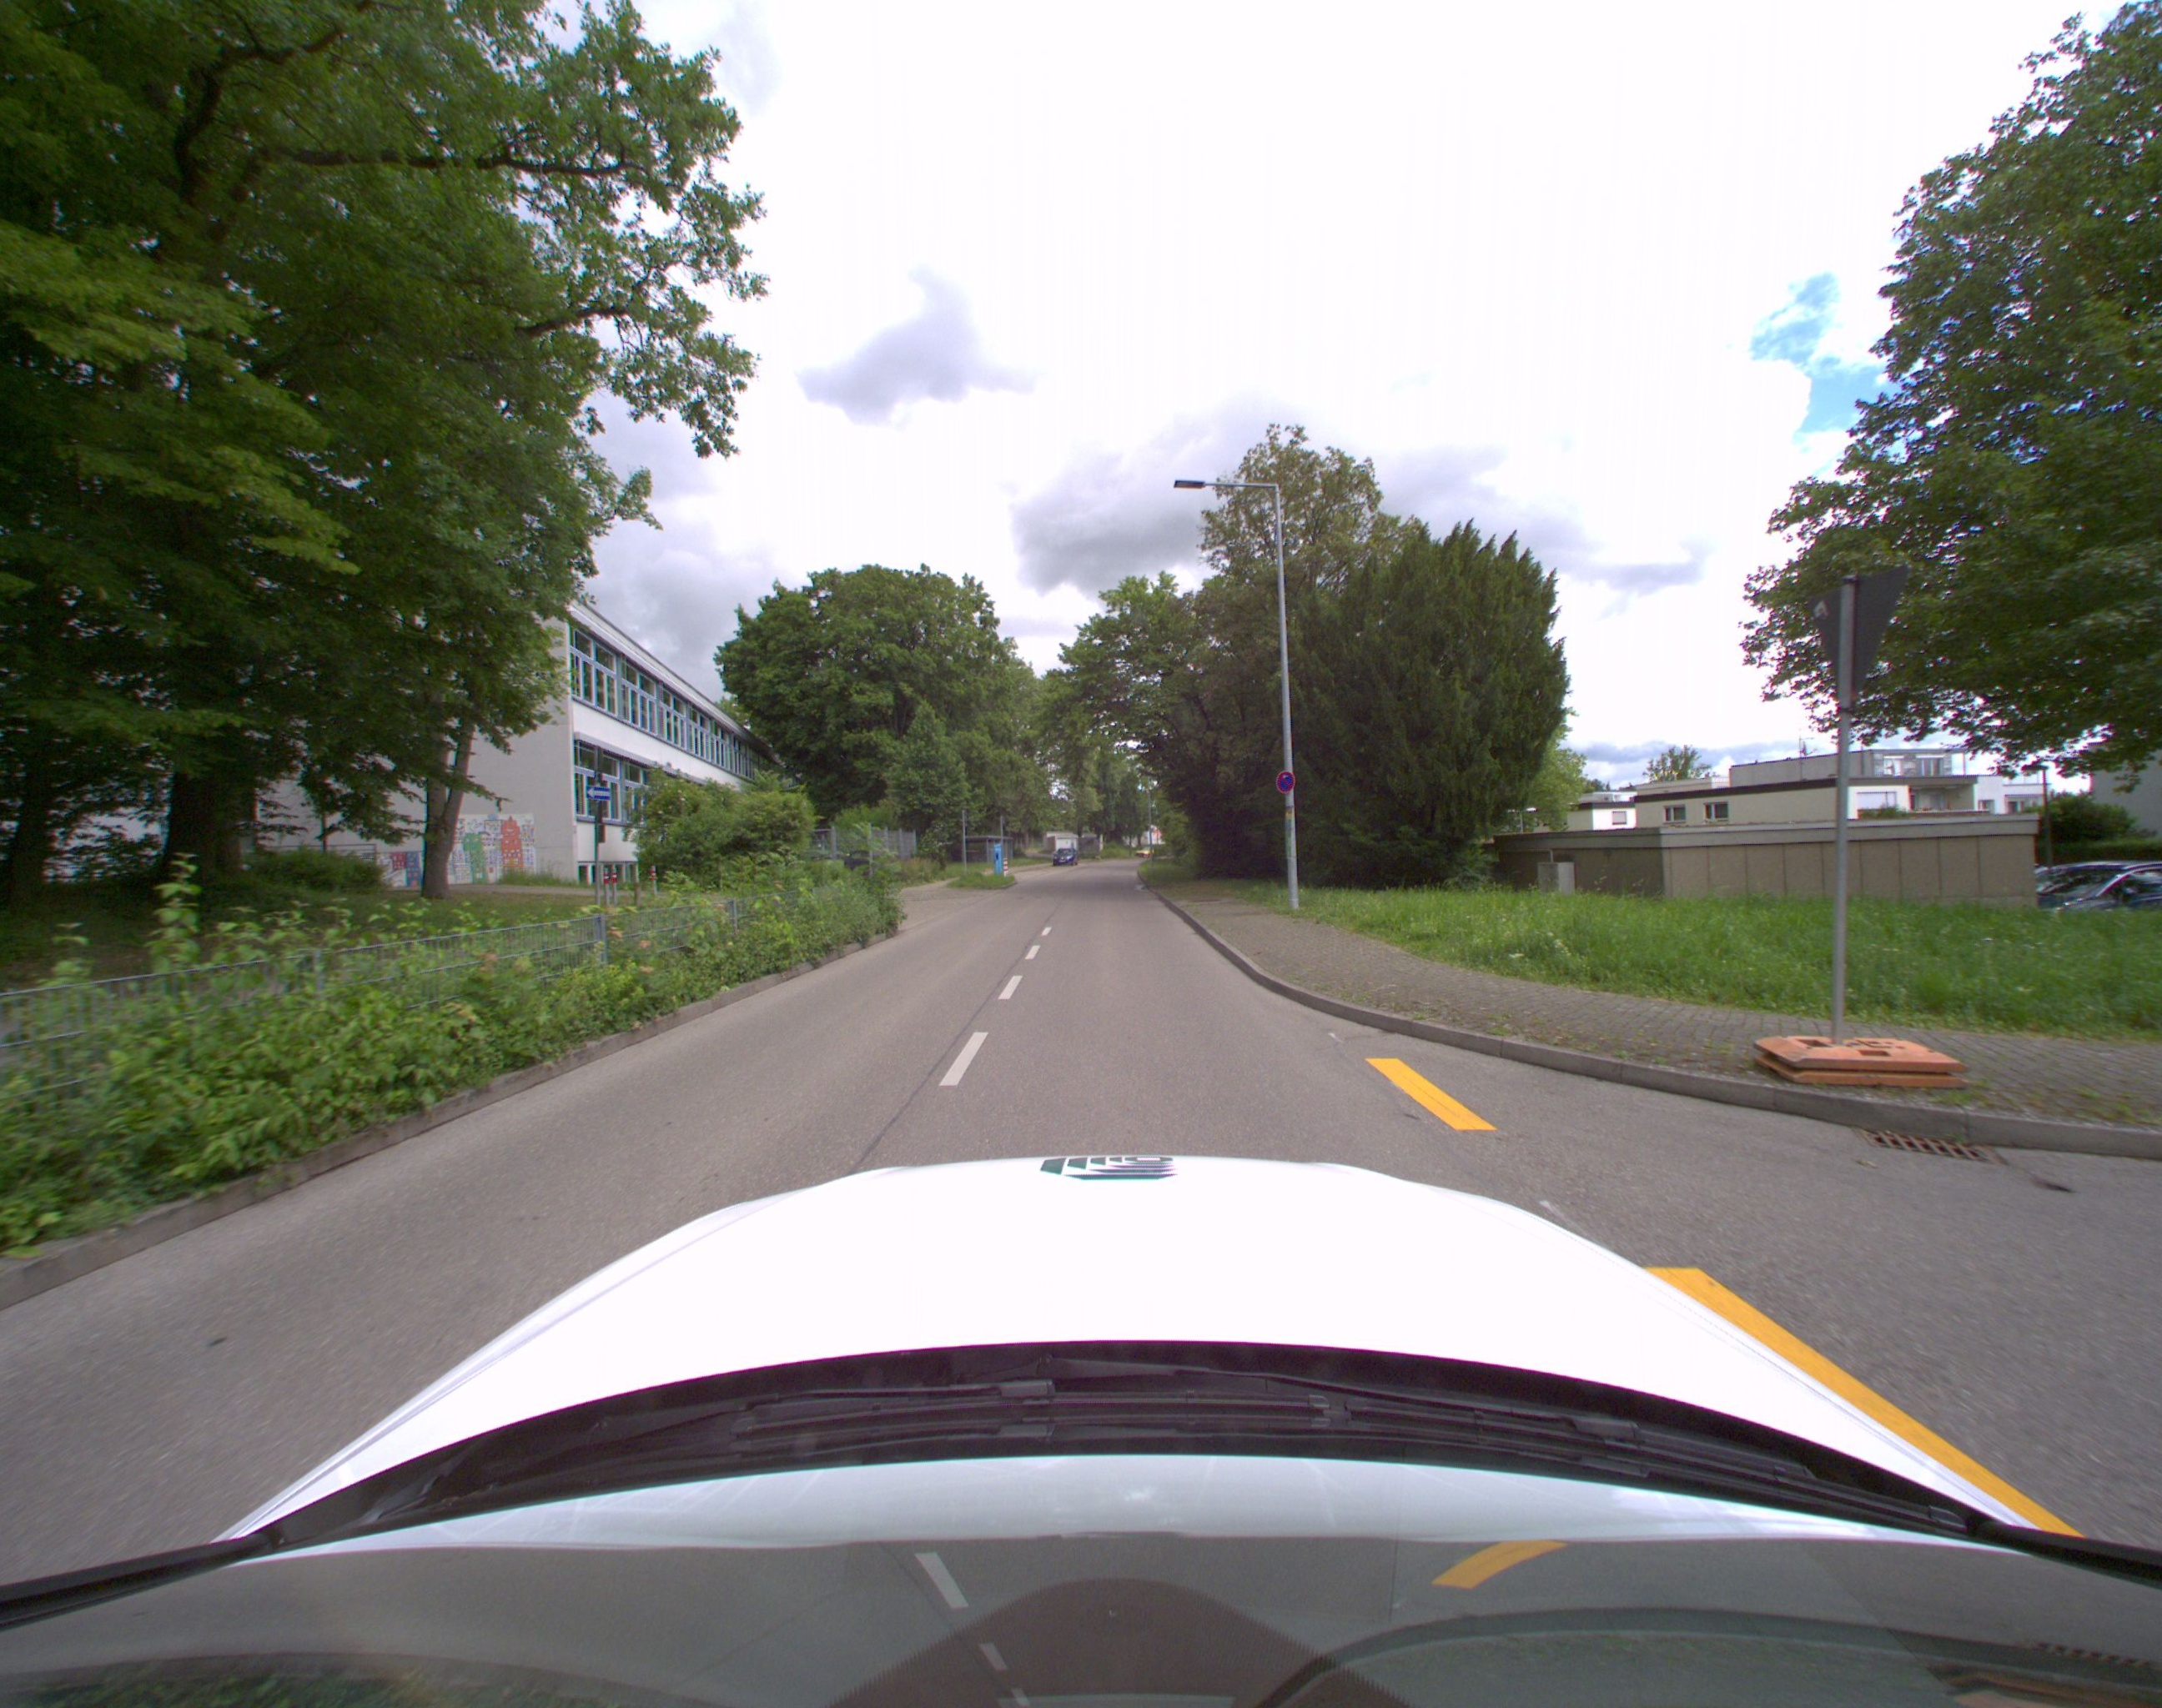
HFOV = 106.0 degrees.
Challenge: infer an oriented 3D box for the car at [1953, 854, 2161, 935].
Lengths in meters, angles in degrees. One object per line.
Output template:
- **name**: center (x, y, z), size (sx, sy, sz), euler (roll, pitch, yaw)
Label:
- **car**: center (18.272, 0.677, 14.516), size (3.548, 1.315, 1.811), euler (0, 0, 0)

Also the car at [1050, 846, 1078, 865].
- **car**: center (-1.411, 0.133, 69.036), size (1.671, 1.511, 4.440), euler (-1, 0, 7)

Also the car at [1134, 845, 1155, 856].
- **car**: center (8.313, -0.482, 106.201), size (1.686, 1.403, 4.293), euler (-1, 0, 18)
